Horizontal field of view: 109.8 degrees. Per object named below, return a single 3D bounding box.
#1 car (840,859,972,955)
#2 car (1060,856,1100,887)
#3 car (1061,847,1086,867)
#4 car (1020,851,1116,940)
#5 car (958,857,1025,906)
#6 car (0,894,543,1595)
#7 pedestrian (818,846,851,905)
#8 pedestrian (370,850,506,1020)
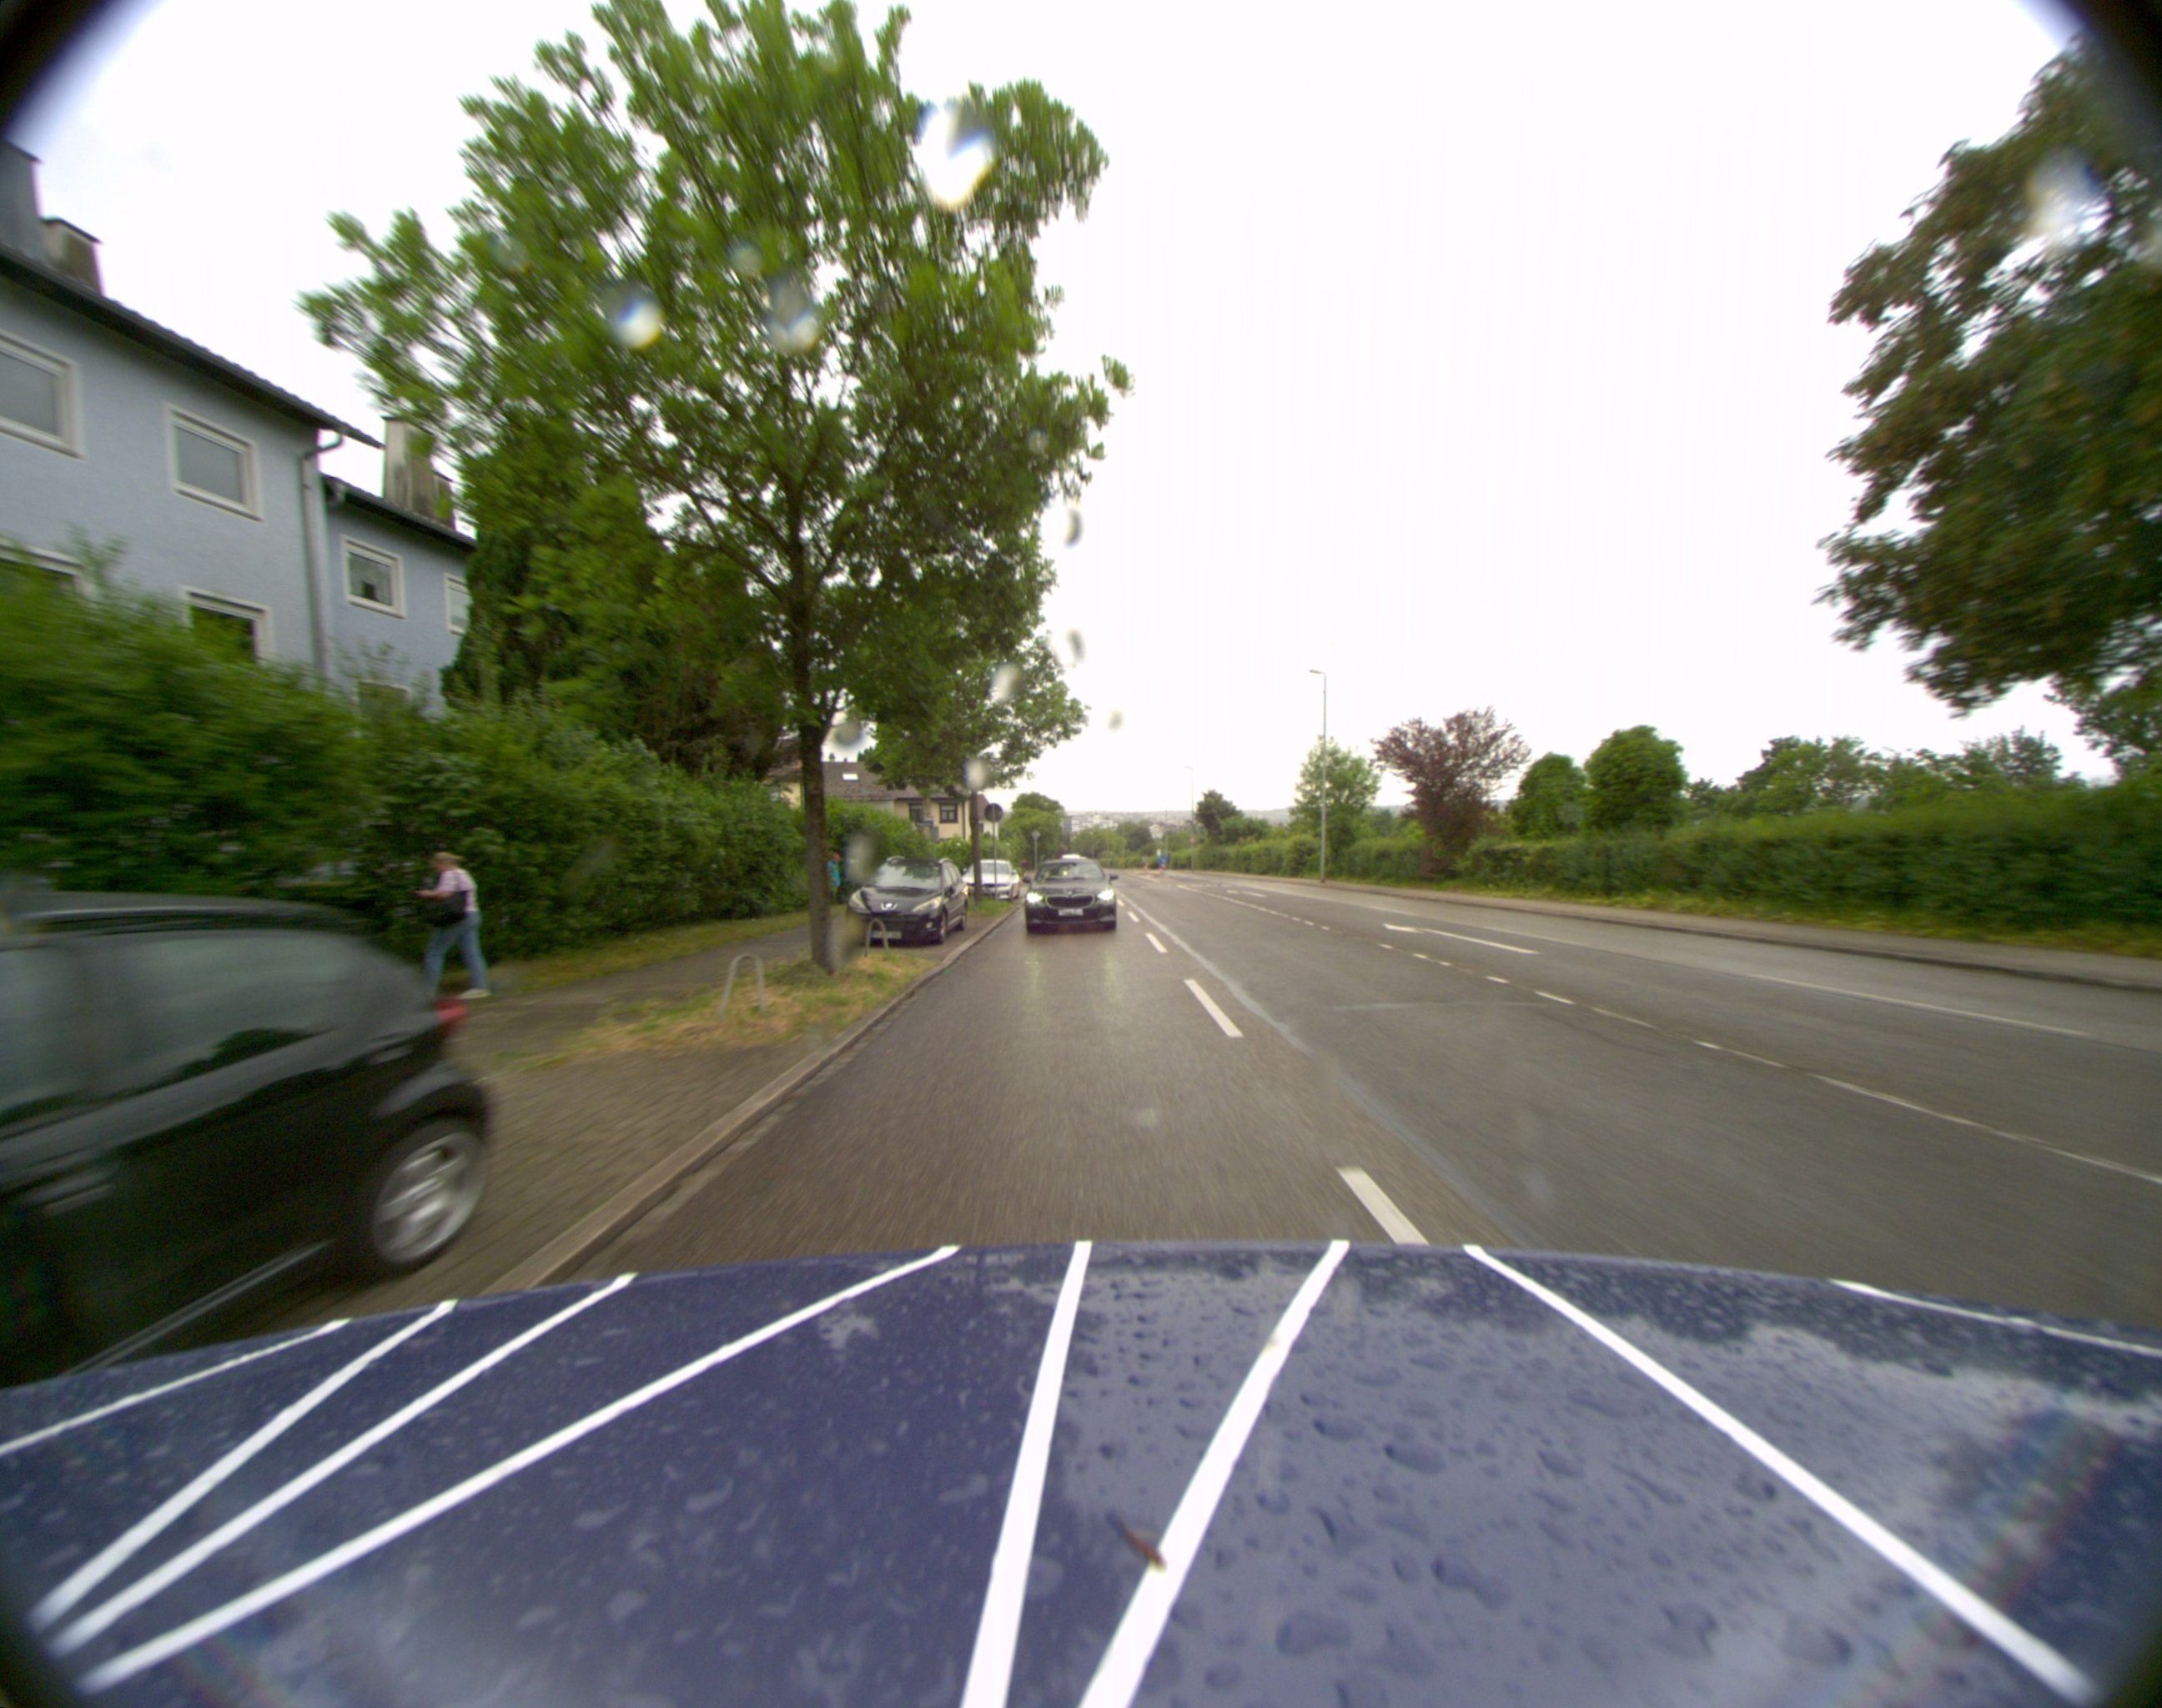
[{"bbox_3d":[-3.211,0.897,14.698,1.646,1.586,4.013,0,0,-1],"label":"car"},{"bbox_3d":[-0.102,0.981,44.095,1.999,1.674,4.172,-1,0,-5],"label":"car"},{"bbox_3d":[-0.681,0.286,66.607,1.999,1.674,4.172,-1,0,-3],"label":"car"},{"bbox_3d":[-0.202,0.807,17.103,1.828,1.668,4.296,-3,0,1],"label":"car"},{"bbox_3d":[-3.088,0.904,27.030,1.803,1.513,4.590,1,1,0],"label":"car"},{"bbox_3d":[-3.337,0.942,1.619,1.726,1.503,3.785,0,0,-1],"label":"car"},{"bbox_3d":[-7.118,0.603,21.974,0.709,1.670,0.654,0,1,8],"label":"pedestrian"},{"bbox_3d":[-6.701,0.798,7.972,0.896,1.670,0.717,0,1,-22],"label":"pedestrian"}]
